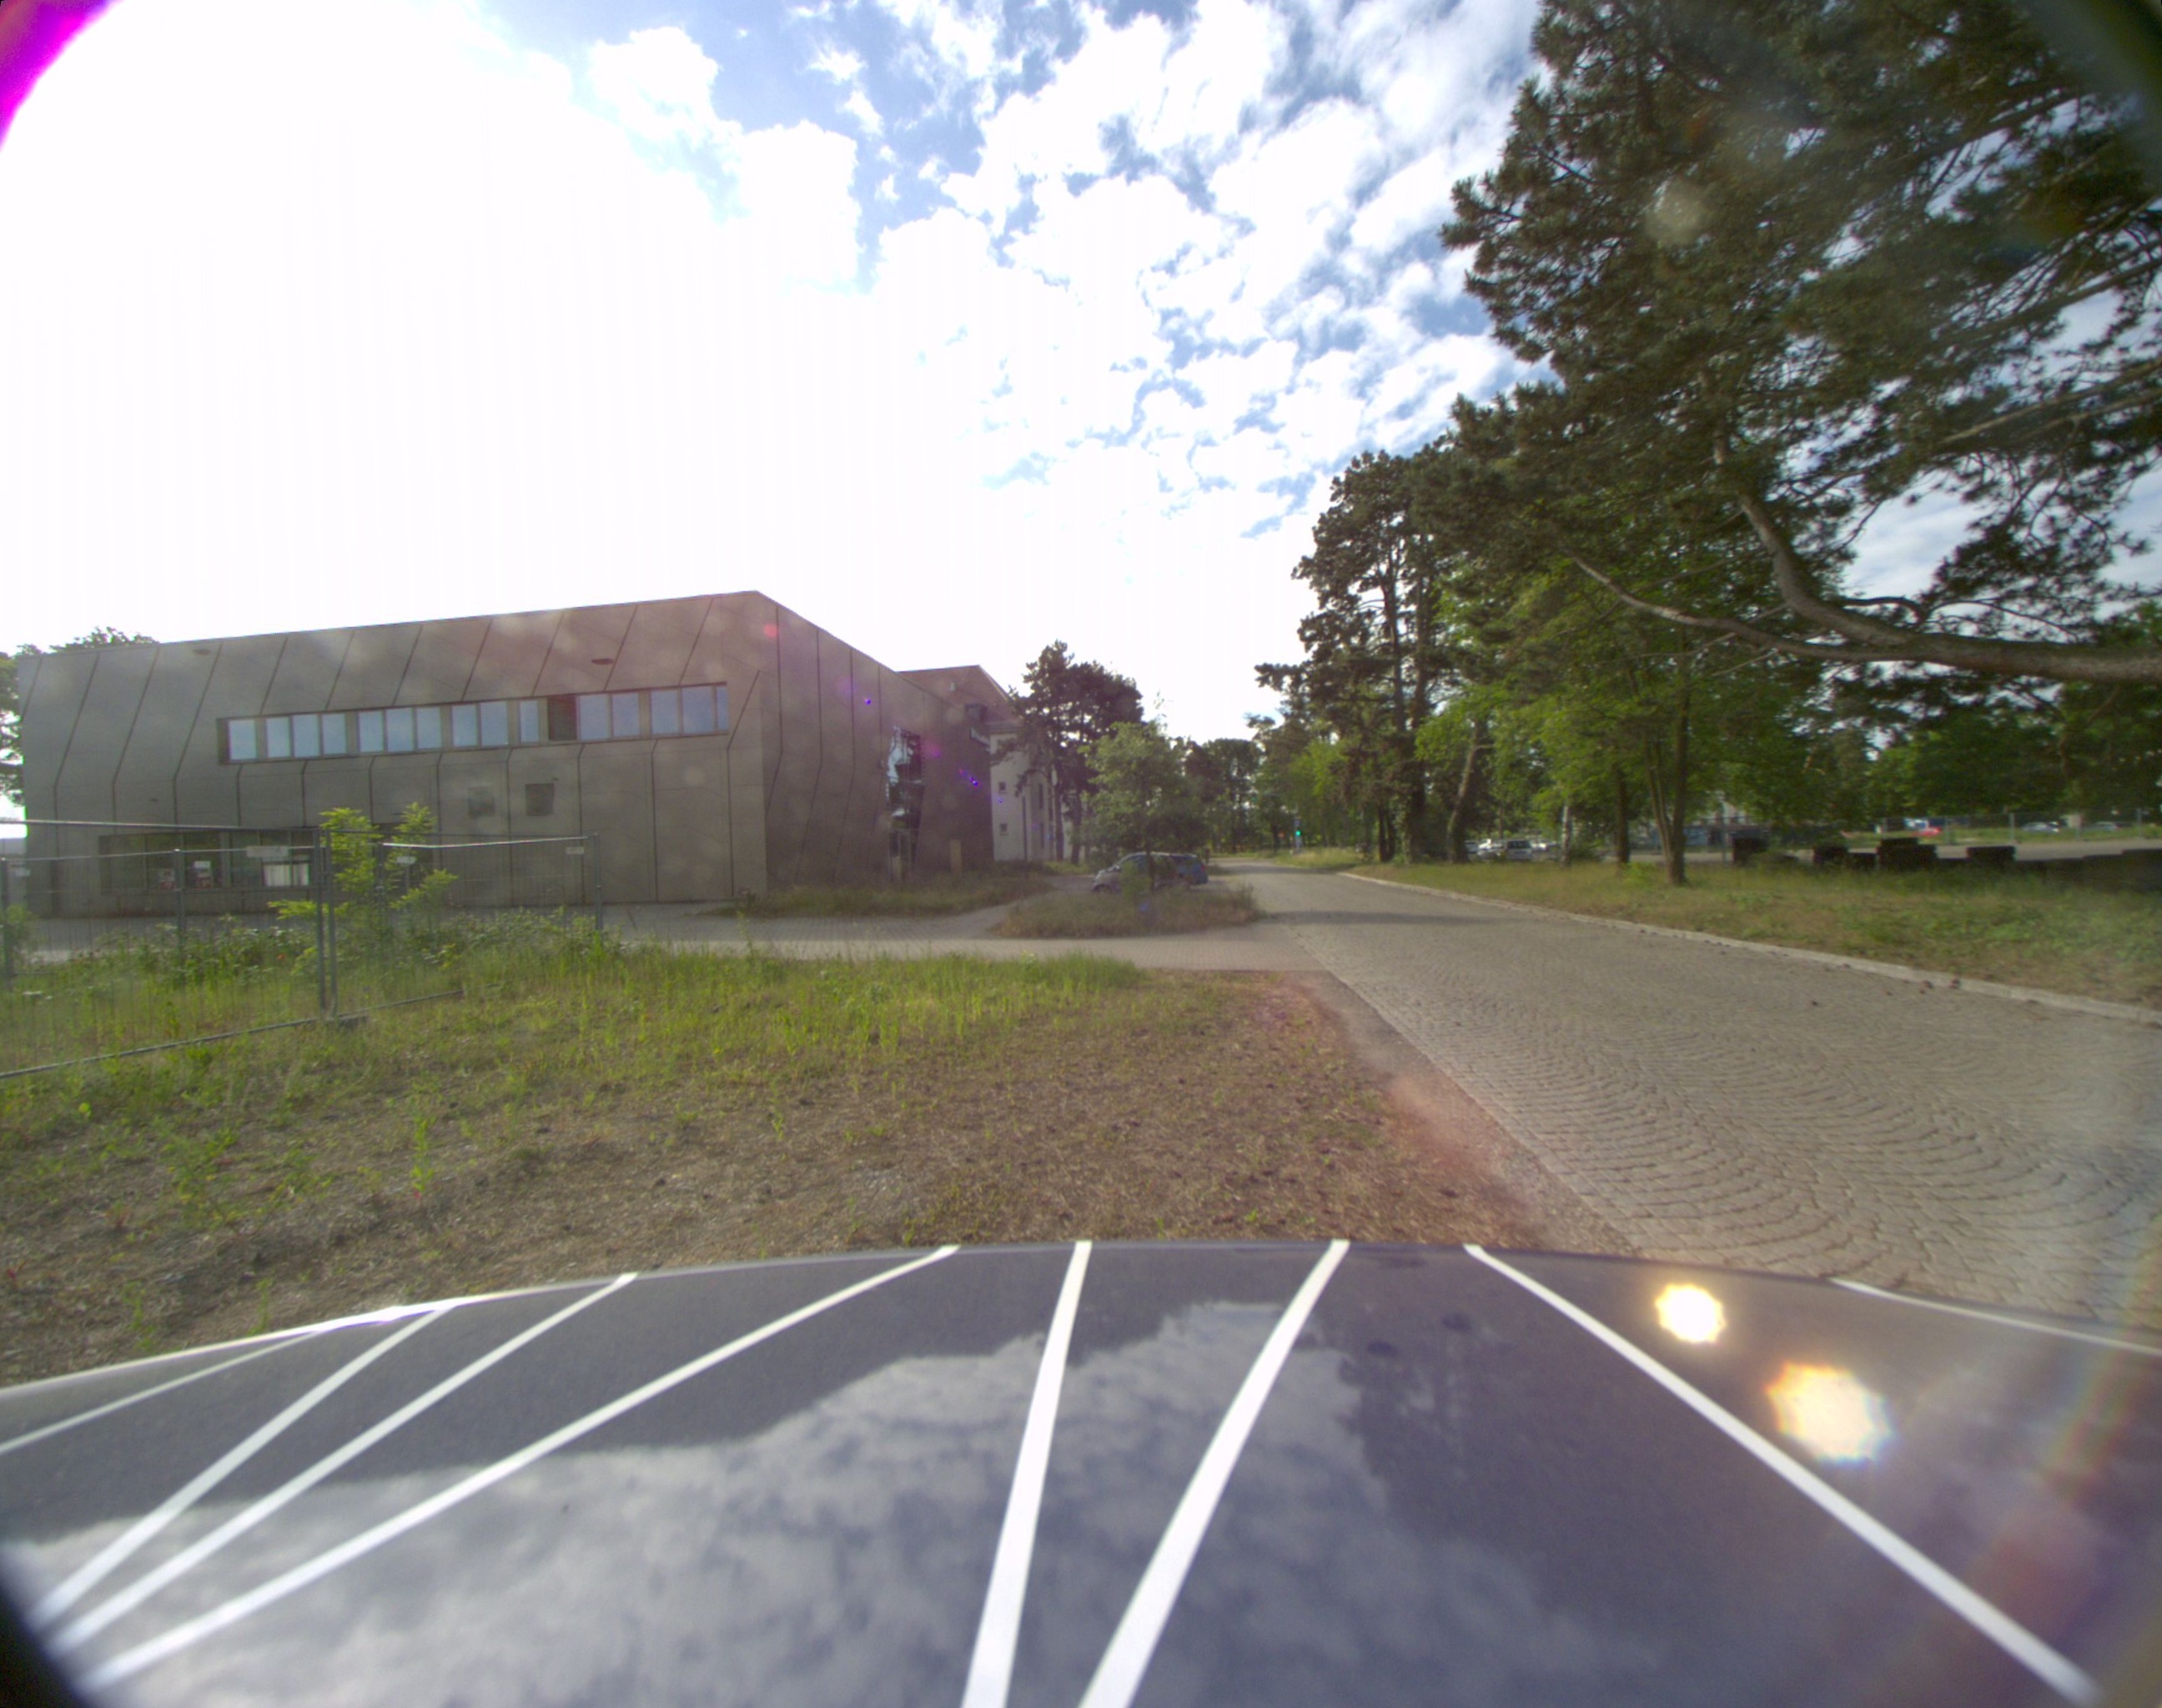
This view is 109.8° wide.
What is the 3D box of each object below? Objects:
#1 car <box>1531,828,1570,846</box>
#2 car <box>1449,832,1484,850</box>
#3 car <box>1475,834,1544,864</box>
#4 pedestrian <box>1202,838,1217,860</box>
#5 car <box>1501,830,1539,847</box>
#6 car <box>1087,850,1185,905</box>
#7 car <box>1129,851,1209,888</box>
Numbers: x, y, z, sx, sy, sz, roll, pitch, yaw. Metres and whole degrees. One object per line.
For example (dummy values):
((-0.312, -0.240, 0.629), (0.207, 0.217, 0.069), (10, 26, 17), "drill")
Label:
((47.356, -1.692, 76.736), (1.997, 1.608, 4.002), (-2, 0, 9), "car")
((39.153, -1.312, 77.195), (1.997, 1.608, 4.002), (-2, 0, 9), "car")
((23.452, -0.287, 41.768), (1.890, 1.532, 4.002), (-2, 1, 7), "car")
((11.034, -0.428, 65.170), (0.959, 1.833, 0.955), (-2, 1, -5), "pedestrian")
((44.407, -1.567, 76.902), (1.997, 1.608, 4.002), (-2, 0, 9), "car")
((1.707, 0.702, 23.200), (2.764, 1.540, 1.426), (-2, 1, 13), "car")
((3.487, 0.603, 30.338), (3.090, 1.449, 1.492), (0, 1, 4), "car")
